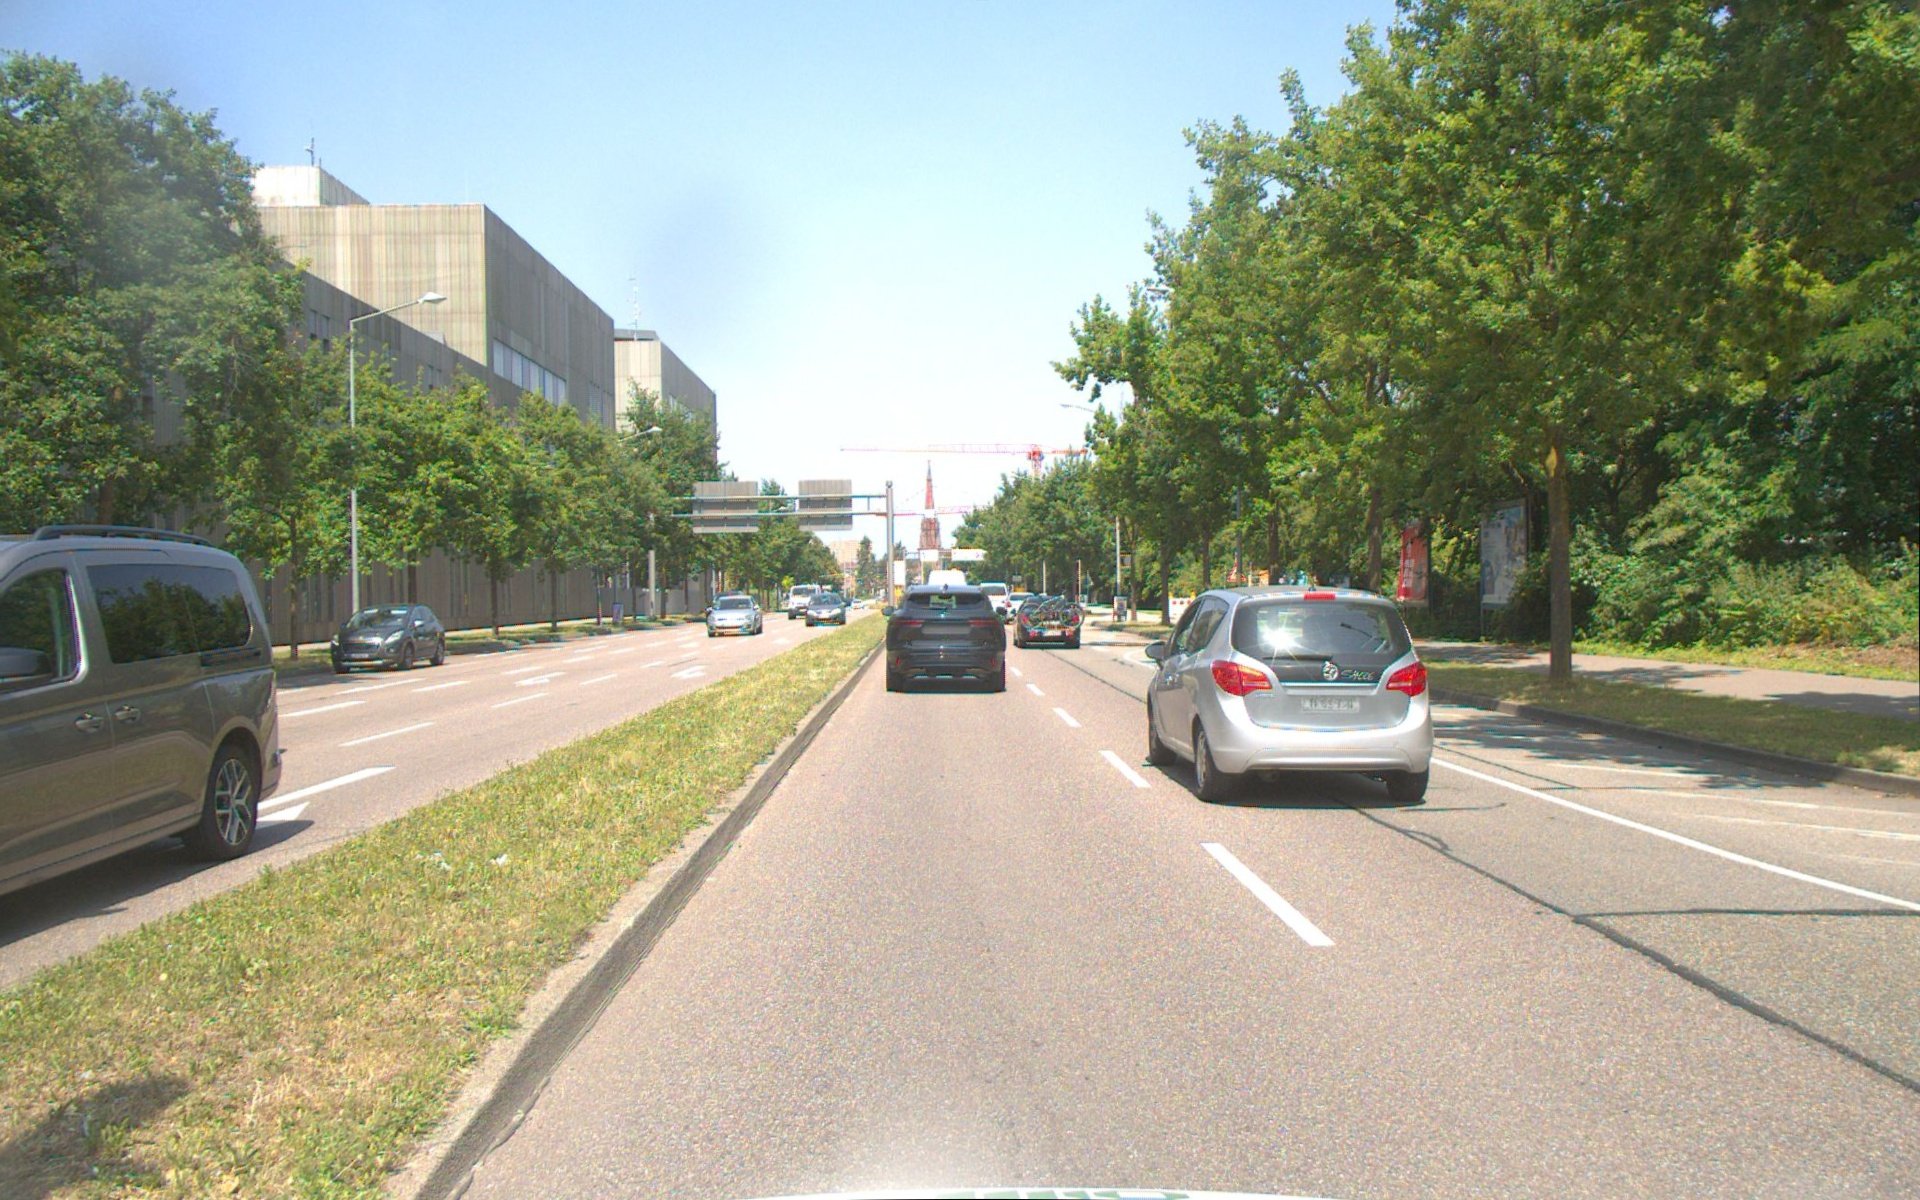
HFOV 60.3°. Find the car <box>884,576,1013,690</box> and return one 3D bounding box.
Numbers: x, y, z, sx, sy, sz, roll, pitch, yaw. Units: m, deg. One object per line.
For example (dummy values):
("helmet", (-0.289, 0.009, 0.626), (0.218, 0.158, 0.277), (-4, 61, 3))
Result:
("car", (-0.164, 0.494, 27.067), (1.957, 1.719, 4.034), (0, 0, 0))

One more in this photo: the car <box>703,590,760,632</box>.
("car", (-8.610, 0.387, 62.572), (1.730, 1.486, 4.143), (-2, 0, -3))

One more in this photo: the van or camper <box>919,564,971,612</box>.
("van or camper", (-0.802, -0.571, 84.095), (2.444, 2.331, 4.918), (-1, 0, -3))

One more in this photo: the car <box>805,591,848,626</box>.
("car", (-6.071, 0.373, 75.455), (1.774, 1.492, 4.055), (-2, 0, -3))

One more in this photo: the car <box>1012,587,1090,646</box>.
("car", (2.512, 0.446, 46.508), (1.973, 1.544, 4.461), (-1, 0, 1))

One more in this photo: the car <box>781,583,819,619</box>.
("car", (-9.710, 0.053, 100.892), (1.871, 2.028, 4.896), (-2, 0, -1))

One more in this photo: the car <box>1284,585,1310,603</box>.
("car", (22.602, -0.406, 110.896), (1.350, 1.208, 3.305), (-1, 0, 5))

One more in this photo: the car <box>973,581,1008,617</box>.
("car", (1.751, -0.069, 96.536), (1.953, 2.049, 4.000), (-1, 0, 0))

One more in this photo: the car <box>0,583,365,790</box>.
("car", (-7.625, 0.725, 16.268), (1.765, 1.692, 4.573), (-2, 0, 1))

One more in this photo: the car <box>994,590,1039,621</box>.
("car", (2.655, 0.259, 78.905), (1.622, 1.380, 4.456), (-1, 0, -5))

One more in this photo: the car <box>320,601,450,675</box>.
("car", (-14.231, 0.887, 41.183), (1.775, 1.569, 4.367), (-5, 1, -3))

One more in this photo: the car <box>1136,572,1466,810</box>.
("car", (2.615, 0.623, 13.589), (1.756, 1.640, 3.889), (-1, 0, -2))

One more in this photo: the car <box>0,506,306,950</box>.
("car", (-4.880, 0.555, 7.675), (1.773, 1.832, 4.713), (-3, 1, -1))

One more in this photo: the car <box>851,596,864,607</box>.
("car", (-14.791, 0.167, 239.934), (1.774, 1.452, 4.356), (-2, 0, -3))
